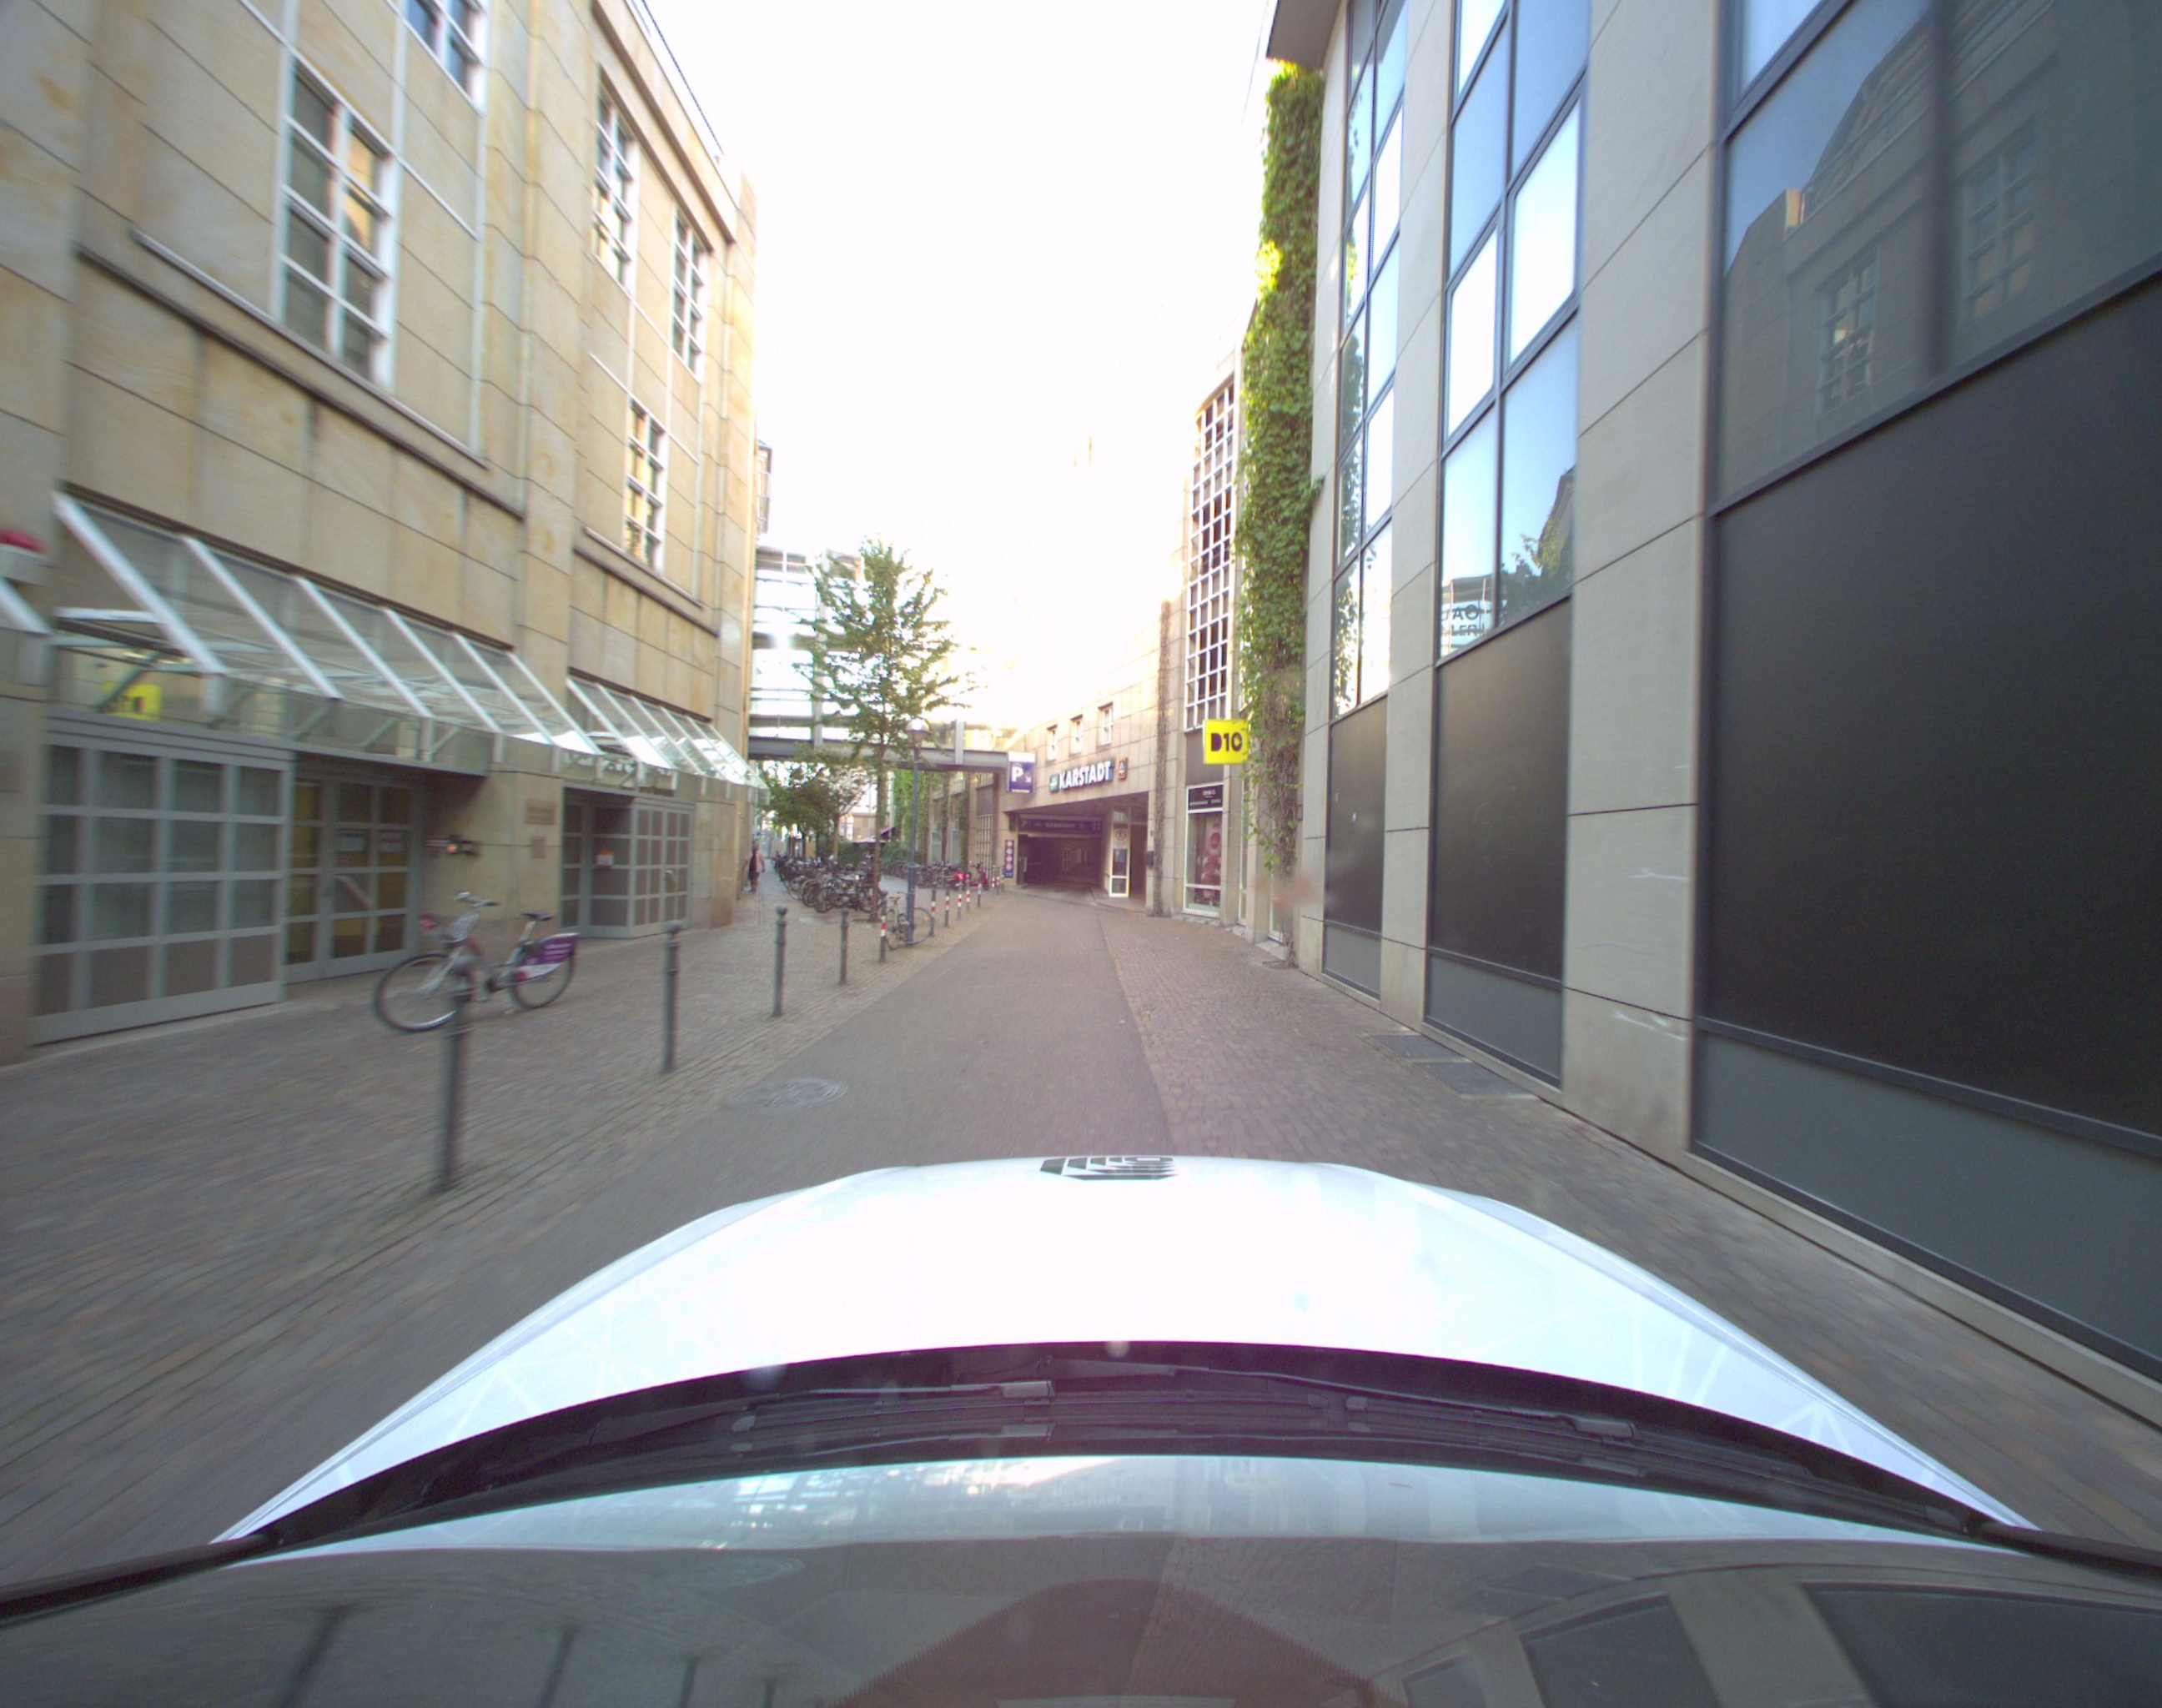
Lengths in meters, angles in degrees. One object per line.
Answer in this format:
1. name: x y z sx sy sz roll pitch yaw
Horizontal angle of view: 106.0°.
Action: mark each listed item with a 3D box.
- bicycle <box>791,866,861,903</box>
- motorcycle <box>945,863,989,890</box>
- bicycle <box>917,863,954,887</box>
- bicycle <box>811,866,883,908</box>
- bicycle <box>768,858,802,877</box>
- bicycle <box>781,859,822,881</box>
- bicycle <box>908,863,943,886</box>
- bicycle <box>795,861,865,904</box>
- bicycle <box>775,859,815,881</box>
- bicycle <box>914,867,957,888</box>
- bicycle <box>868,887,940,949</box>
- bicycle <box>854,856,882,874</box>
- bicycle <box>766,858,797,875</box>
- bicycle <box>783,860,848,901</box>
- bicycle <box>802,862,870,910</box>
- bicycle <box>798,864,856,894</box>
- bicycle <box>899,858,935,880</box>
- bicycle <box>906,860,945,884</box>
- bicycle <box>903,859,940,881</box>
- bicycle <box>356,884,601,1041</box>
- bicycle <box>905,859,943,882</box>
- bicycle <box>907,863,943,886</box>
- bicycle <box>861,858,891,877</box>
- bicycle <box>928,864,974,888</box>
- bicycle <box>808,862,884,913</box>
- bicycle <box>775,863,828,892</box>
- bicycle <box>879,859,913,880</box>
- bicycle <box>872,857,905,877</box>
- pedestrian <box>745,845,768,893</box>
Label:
1. bicycle: -7.510 0.875 24.010 1.902 1.052 0.530 0 0 -24
2. motorcycle: -4.551 0.898 32.604 1.669 1.050 0.460 1 0 -22
3. bicycle: -6.421 0.913 35.974 1.545 1.049 0.571 1 0 -22
4. bicycle: -6.478 0.910 22.557 1.845 1.122 0.530 0 0 -24
5. bicycle: -18.100 0.831 49.769 1.913 1.112 0.477 0 0 -24
6. bicycle: -13.257 0.774 38.603 1.788 1.019 0.477 0 0 -24
7. bicycle: -7.318 0.952 38.350 1.545 1.049 0.571 1 0 -22
8. bicycle: -7.221 0.809 23.489 1.881 1.177 0.530 0 0 -24
9. bicycle: -13.846 0.780 39.422 1.788 1.019 0.477 0 0 -24
10. bicycle: -6.260 1.005 35.028 1.780 0.904 0.460 1 0 -22
11. bicycle: -3.024 1.075 14.062 0.489 0.939 1.665 2 0 14
12. bicycle: -14.612 0.772 55.844 1.780 1.190 0.582 1 0 -22
13. bicycle: -19.780 0.800 53.837 1.913 1.112 0.477 0 0 -24
14. bicycle: -8.038 0.785 24.668 1.841 1.225 0.530 0 0 -24
15. bicycle: -6.501 0.826 21.634 1.661 1.231 0.530 0 0 -24
16. bicycle: -8.859 0.859 28.427 1.885 1.043 0.530 0 0 -24
17. bicycle: -8.606 0.792 42.763 1.780 1.114 0.539 1 0 -22
18. bicycle: -7.519 0.861 39.488 1.780 1.114 0.539 1 0 -22
19. bicycle: -8.183 0.815 41.744 1.780 1.114 0.539 1 0 -22
20. bicycle: -5.184 0.866 7.169 0.517 1.138 1.772 1 0 15
21. bicycle: -7.799 0.831 40.553 1.780 1.114 0.539 1 0 -22
22. bicycle: -7.069 0.929 36.931 1.545 1.049 0.571 1 0 -22
23. bicycle: -12.764 0.846 50.663 1.779 1.114 0.539 1 0 -19
24. bicycle: -5.449 0.939 34.202 1.855 0.982 0.460 1 0 -22
25. bicycle: -5.886 0.830 20.409 1.774 1.231 0.530 0 0 -24
26. bicycle: -10.331 0.866 30.140 1.833 1.043 0.530 0 0 -24
27. bicycle: -10.226 0.852 44.968 1.780 1.114 0.539 1 0 -22
28. bicycle: -11.041 0.753 46.747 1.780 1.114 0.539 1 0 -22
29. pedestrian: -11.067 0.505 27.796 0.701 1.582 0.713 1 0 -23
